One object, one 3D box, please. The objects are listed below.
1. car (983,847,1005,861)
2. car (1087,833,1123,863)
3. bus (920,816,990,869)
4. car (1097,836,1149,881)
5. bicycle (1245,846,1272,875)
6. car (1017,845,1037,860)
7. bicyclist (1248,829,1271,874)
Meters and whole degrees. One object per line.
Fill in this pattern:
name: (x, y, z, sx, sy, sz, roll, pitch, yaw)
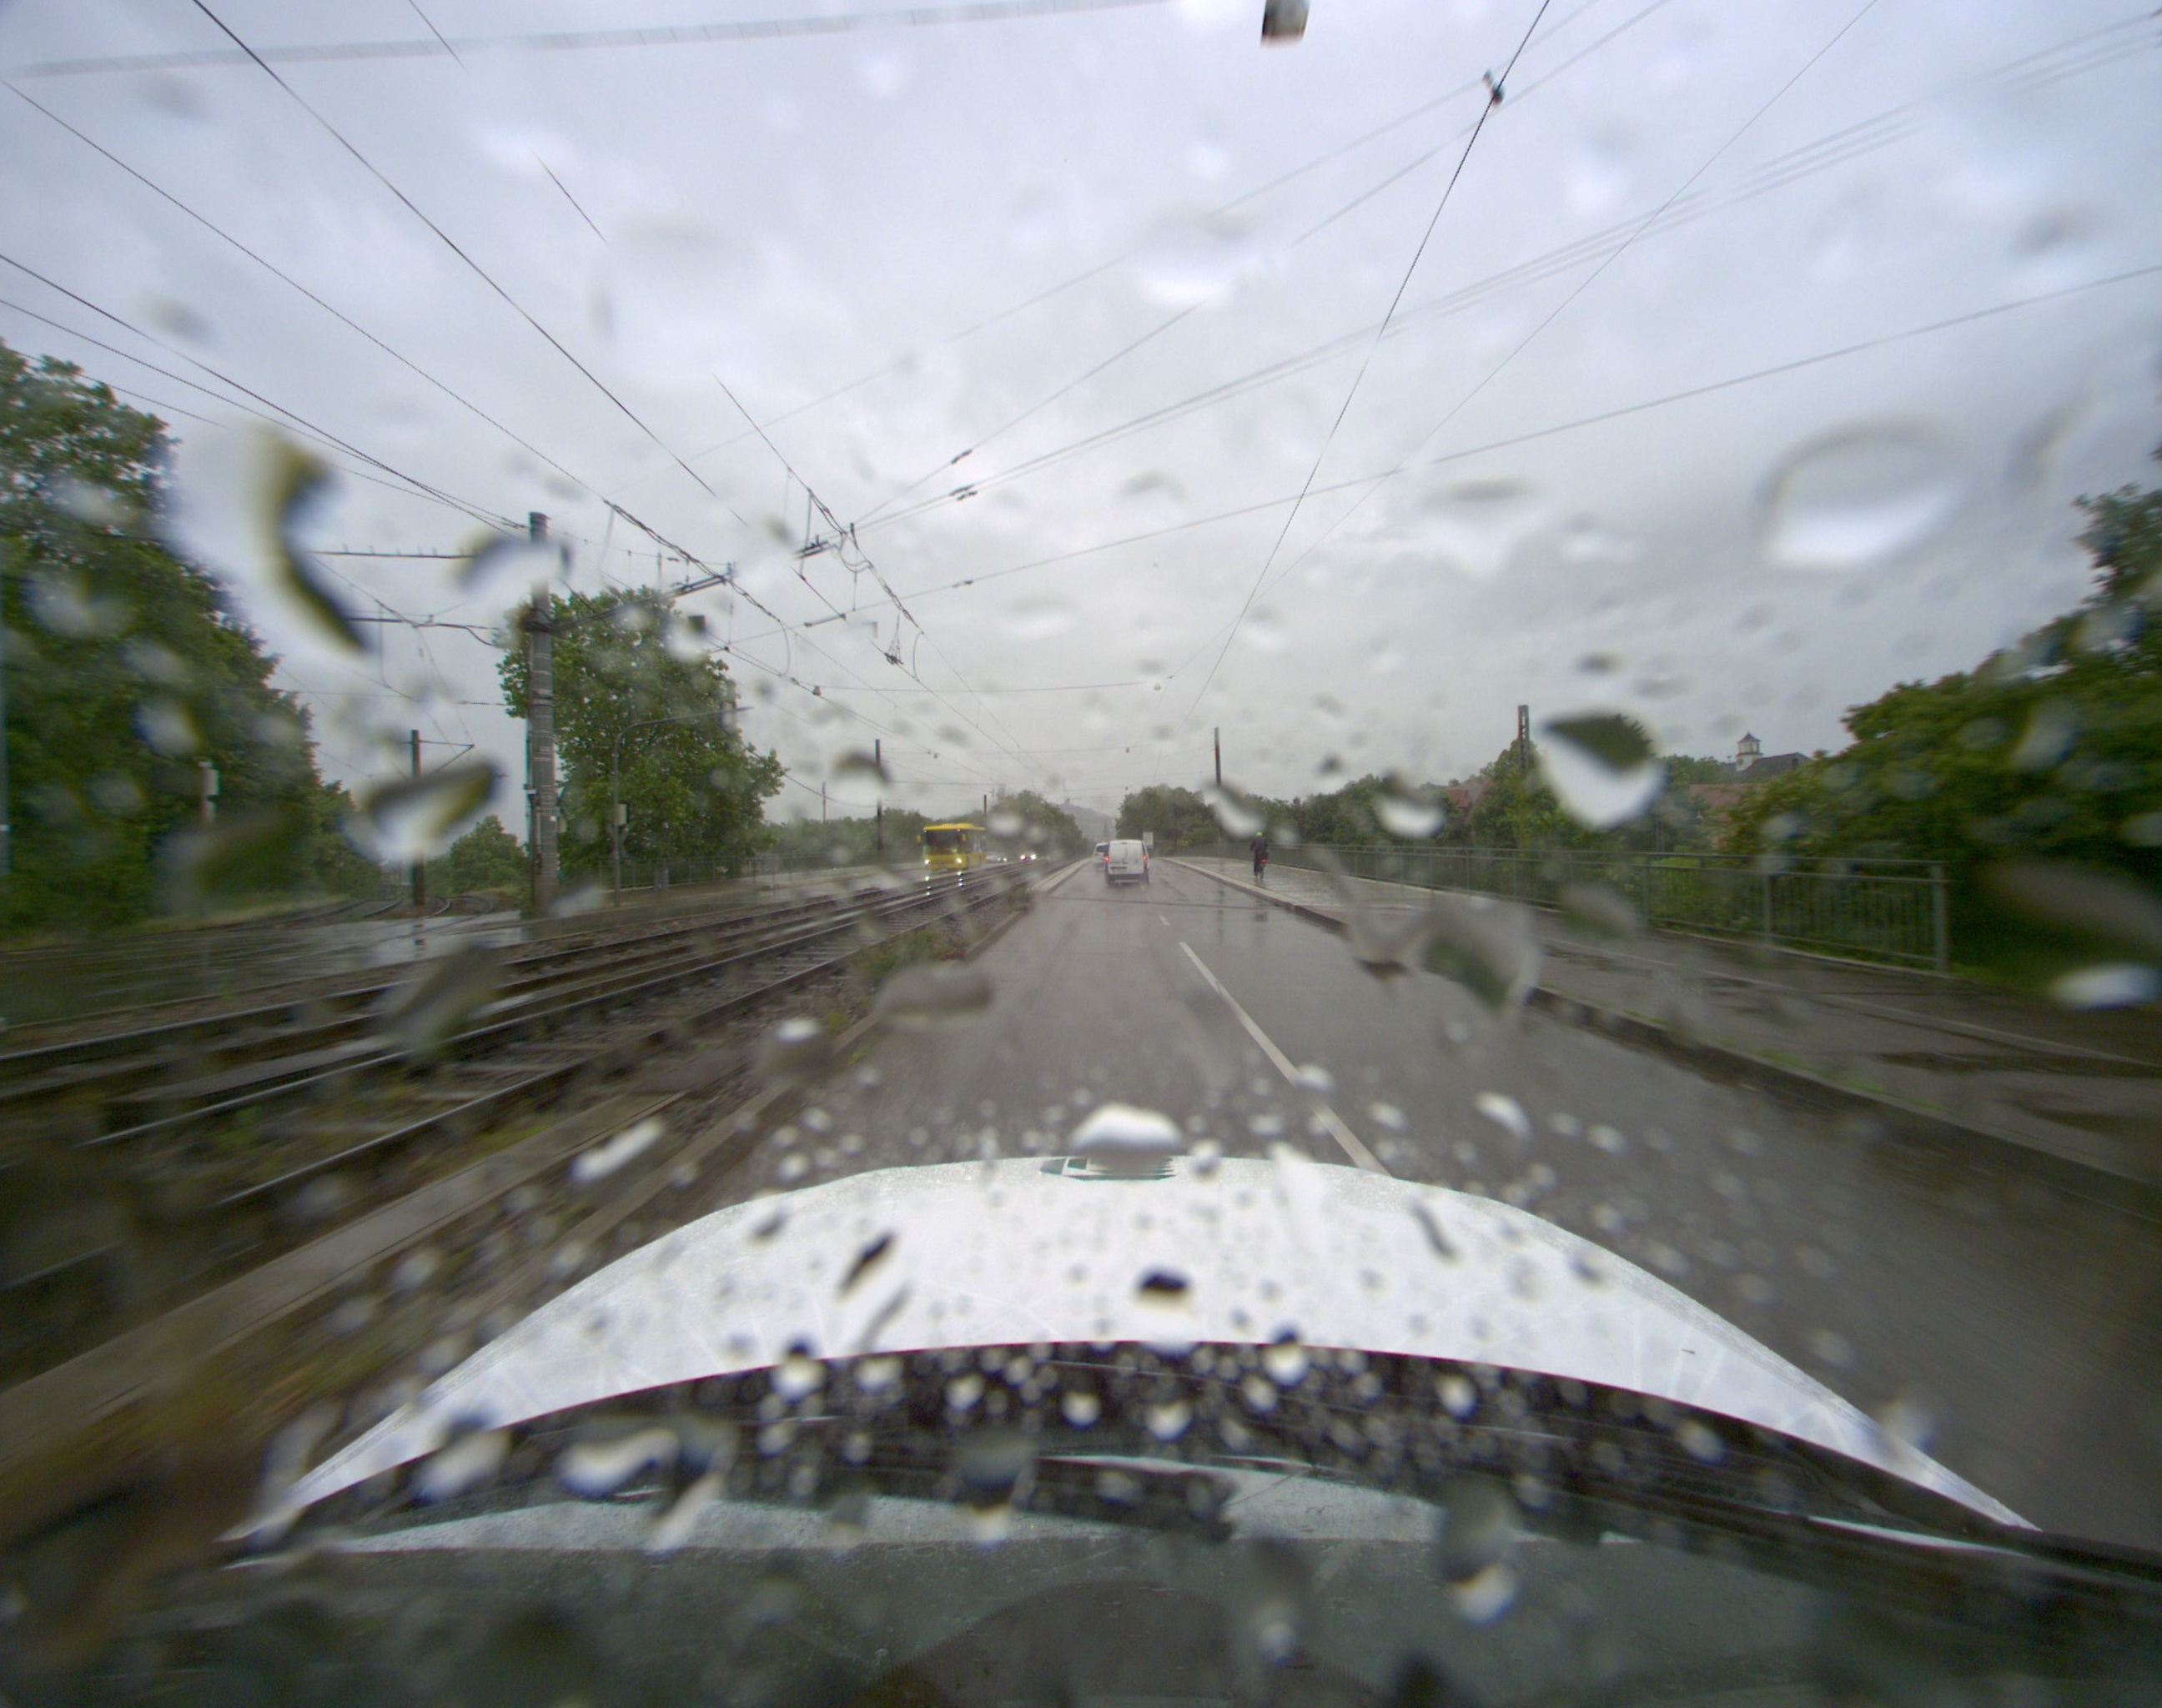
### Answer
car: (-10.337, 0.019, 97.143, 1.986, 1.456, 4.621, -3, -1, 1)
car: (1.477, -0.324, 48.669, 1.984, 1.717, 4.005, 0, -1, 4)
bus: (-8.798, -0.893, 58.329, 2.698, 3.340, 11.000, -3, 1, 2)
car: (1.798, 0.196, 33.615, 1.984, 1.726, 4.005, 0, -1, 4)
bicycle: (7.049, 0.239, 32.403, 0.720, 1.129, 2.169, 0, 0, 3)
car: (-7.088, -0.167, 107.767, 1.986, 1.717, 4.944, -3, -1, 2)
bicyclist: (7.063, -0.087, 32.297, 0.722, 1.764, 0.950, 0, -1, 2)
